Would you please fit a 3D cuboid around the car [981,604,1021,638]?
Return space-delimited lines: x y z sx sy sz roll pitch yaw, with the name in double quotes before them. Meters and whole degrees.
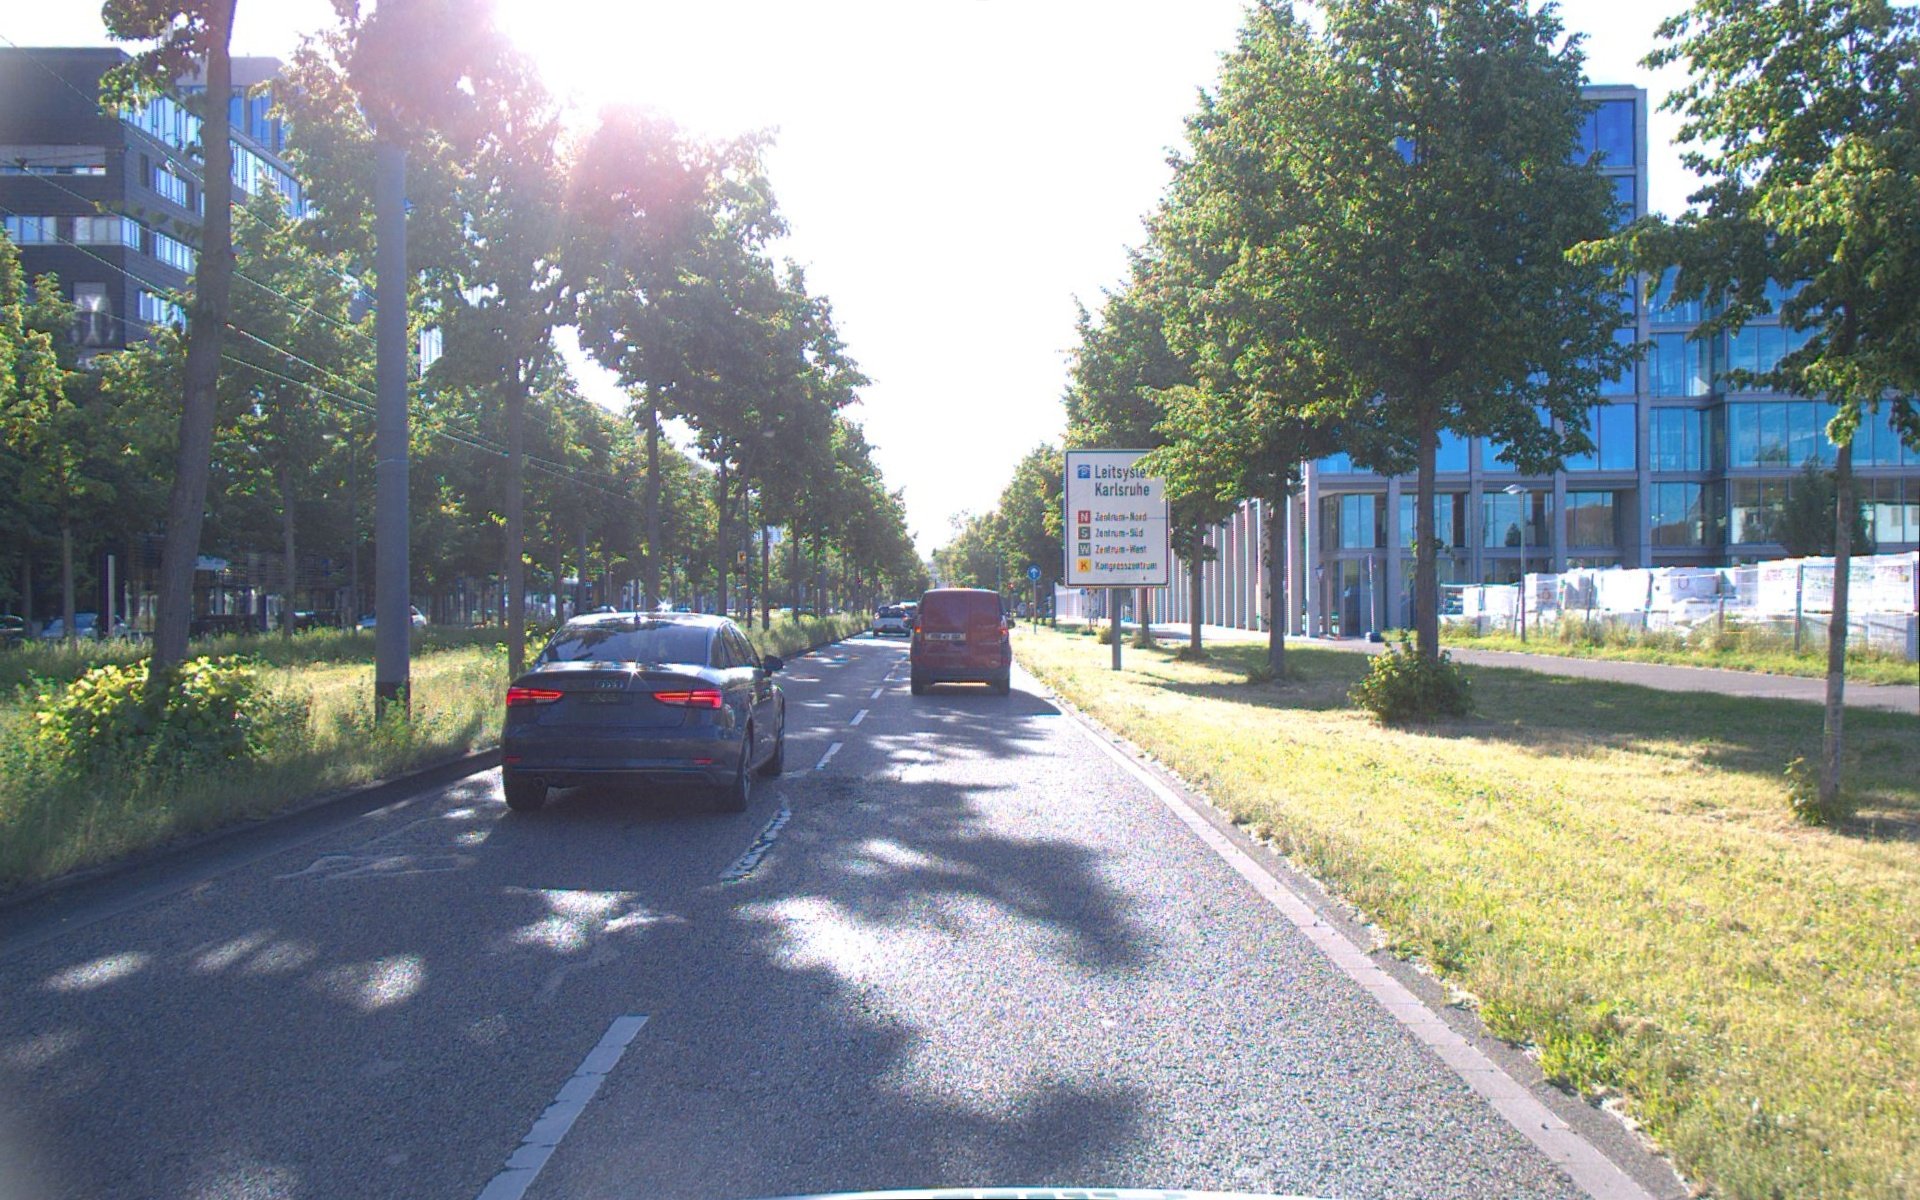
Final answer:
"car" 1.877 0.963 76.700 1.686 1.450 3.816 2 1 -1

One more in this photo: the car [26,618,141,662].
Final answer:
"car" -30.880 1.388 58.434 1.680 1.445 4.544 0 0 0

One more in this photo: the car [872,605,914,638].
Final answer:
"car" -3.163 1.001 78.196 1.903 1.466 3.998 0 0 -3

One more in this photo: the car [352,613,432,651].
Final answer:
"car" -22.632 1.246 66.087 1.761 1.314 4.310 -1 1 -1

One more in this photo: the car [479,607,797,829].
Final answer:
"car" -2.307 0.781 12.882 1.686 1.390 4.145 1 0 -1

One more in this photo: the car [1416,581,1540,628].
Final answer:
"car" 23.049 0.192 73.685 4.959 2.016 1.939 0 0 5

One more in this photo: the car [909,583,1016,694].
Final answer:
"car" -0.005 0.654 29.760 1.761 1.808 3.999 1 0 -2

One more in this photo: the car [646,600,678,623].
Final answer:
"car" -23.692 0.903 131.588 1.761 1.718 4.320 1 0 -1

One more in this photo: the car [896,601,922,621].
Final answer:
"car" -3.944 0.848 127.888 1.805 1.561 3.940 0 0 0
